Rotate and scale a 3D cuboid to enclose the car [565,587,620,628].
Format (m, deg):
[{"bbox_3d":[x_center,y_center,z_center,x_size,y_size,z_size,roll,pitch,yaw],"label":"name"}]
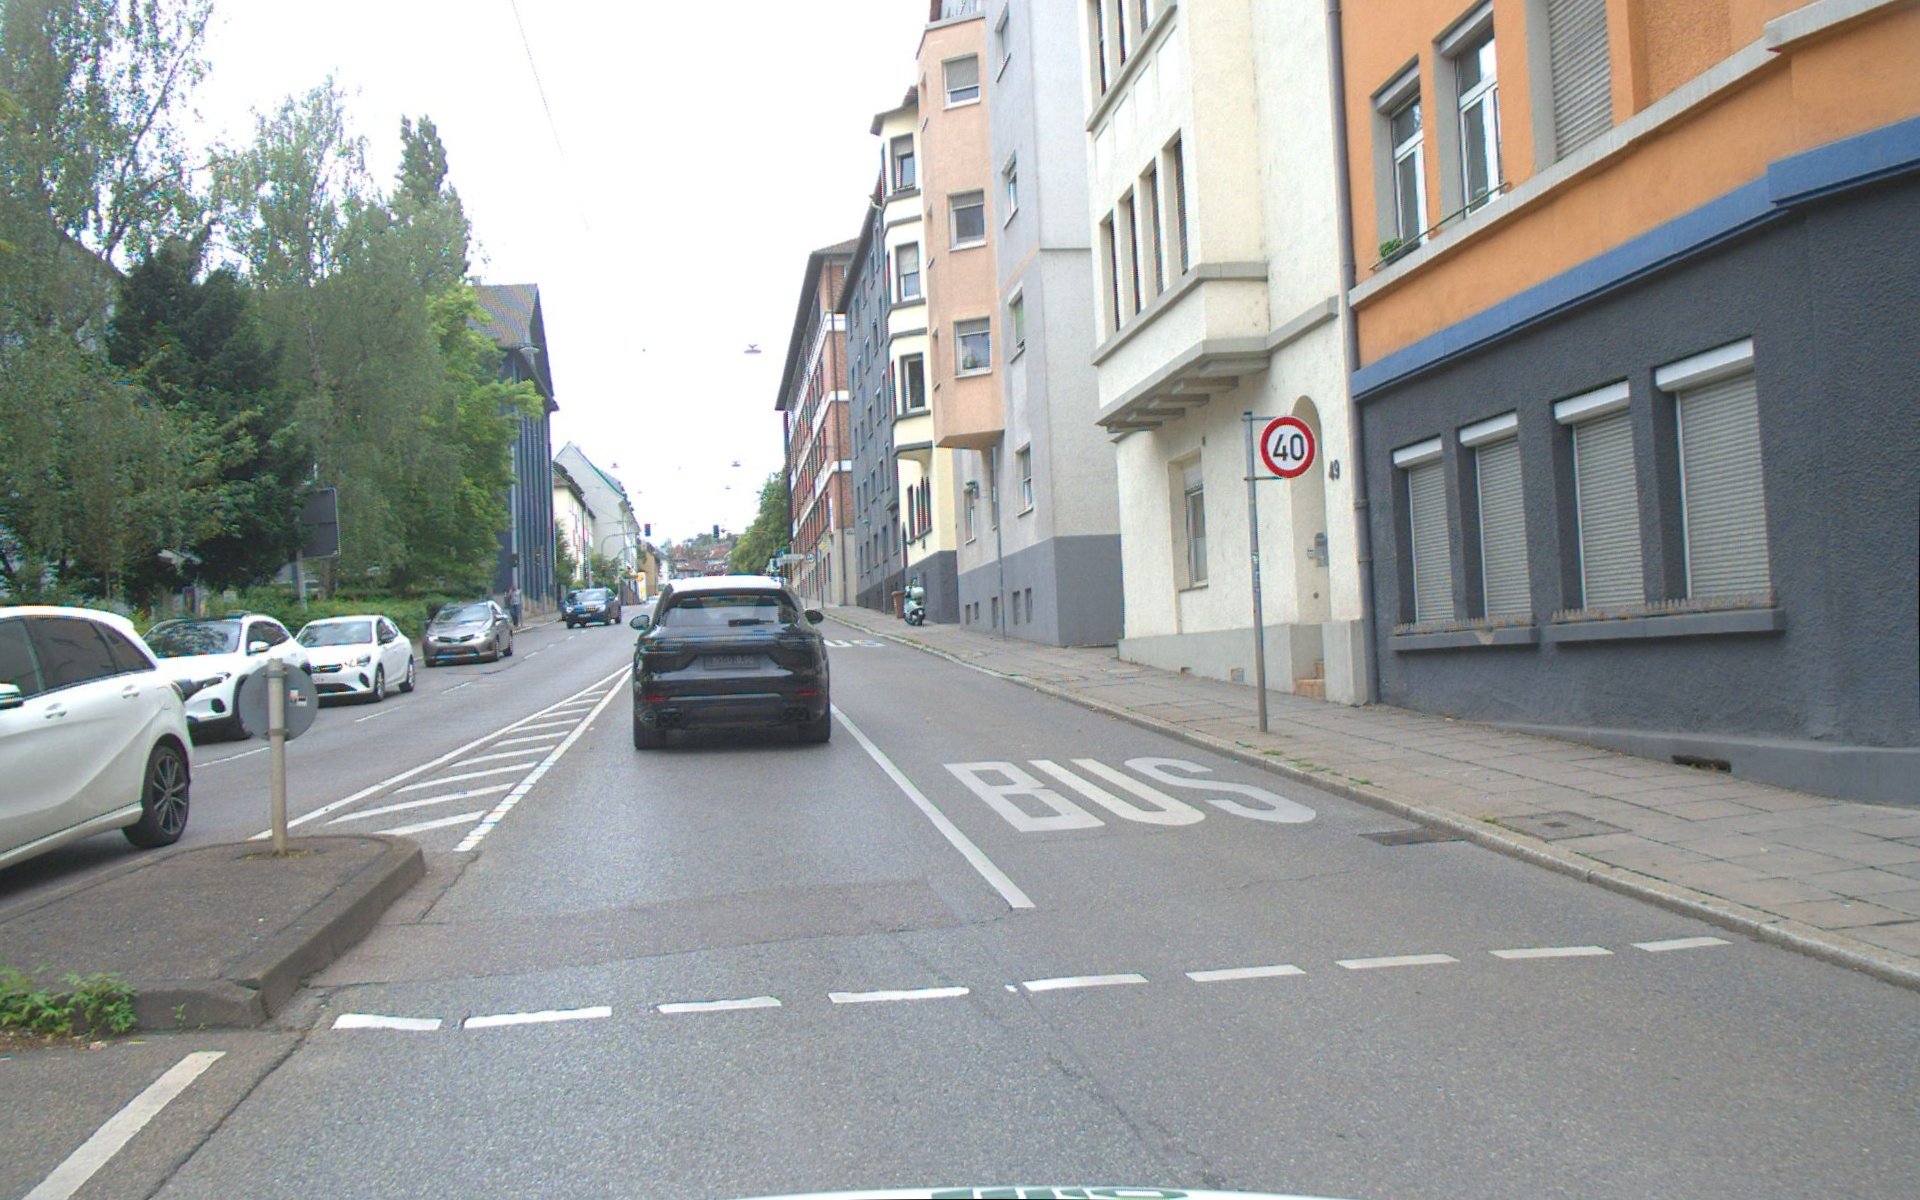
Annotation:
[{"bbox_3d":[-15.116,0.273,68.152,1.805,1.473,4.303,-4,1,-8],"label":"car"}]

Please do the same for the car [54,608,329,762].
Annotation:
[{"bbox_3d":[-10.318,1.051,22.622,1.915,1.620,4.492,-5,1,-6],"label":"car"}]

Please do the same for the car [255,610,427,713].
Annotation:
[{"bbox_3d":[-10.742,1.011,28.993,1.805,1.436,4.067,-5,1,-7],"label":"car"}]

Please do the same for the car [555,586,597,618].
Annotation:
[{"bbox_3d":[-19.763,0.061,85.224,1.683,1.448,3.981,-5,2,-9],"label":"car"}]

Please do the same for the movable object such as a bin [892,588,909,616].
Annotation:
[{"bbox_3d":[-2.033,0.059,56.599,0.466,0.907,0.515,-5,1,-9],"label":"movable object such as a bin"}]

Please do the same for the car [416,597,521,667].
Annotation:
[{"bbox_3d":[-12.209,0.747,41.312,1.805,1.473,4.303,-4,1,-8],"label":"car"}]

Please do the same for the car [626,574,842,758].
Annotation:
[{"bbox_3d":[-2.524,0.594,17.616,1.988,1.670,4.344,-1,0,-11],"label":"car"}]

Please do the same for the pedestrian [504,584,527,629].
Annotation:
[{"bbox_3d":[-19.733,0.282,73.407,0.866,1.984,0.866,0,1,-9],"label":"pedestrian"}]

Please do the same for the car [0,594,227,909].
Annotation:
[{"bbox_3d":[-5.864,0.849,9.147,1.740,1.573,4.323,-4,1,-2],"label":"car"}]

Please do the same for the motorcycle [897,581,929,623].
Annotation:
[{"bbox_3d":[-1.429,0.044,49.816,0.528,1.175,2.220,-5,2,-11],"label":"motorcycle"}]
